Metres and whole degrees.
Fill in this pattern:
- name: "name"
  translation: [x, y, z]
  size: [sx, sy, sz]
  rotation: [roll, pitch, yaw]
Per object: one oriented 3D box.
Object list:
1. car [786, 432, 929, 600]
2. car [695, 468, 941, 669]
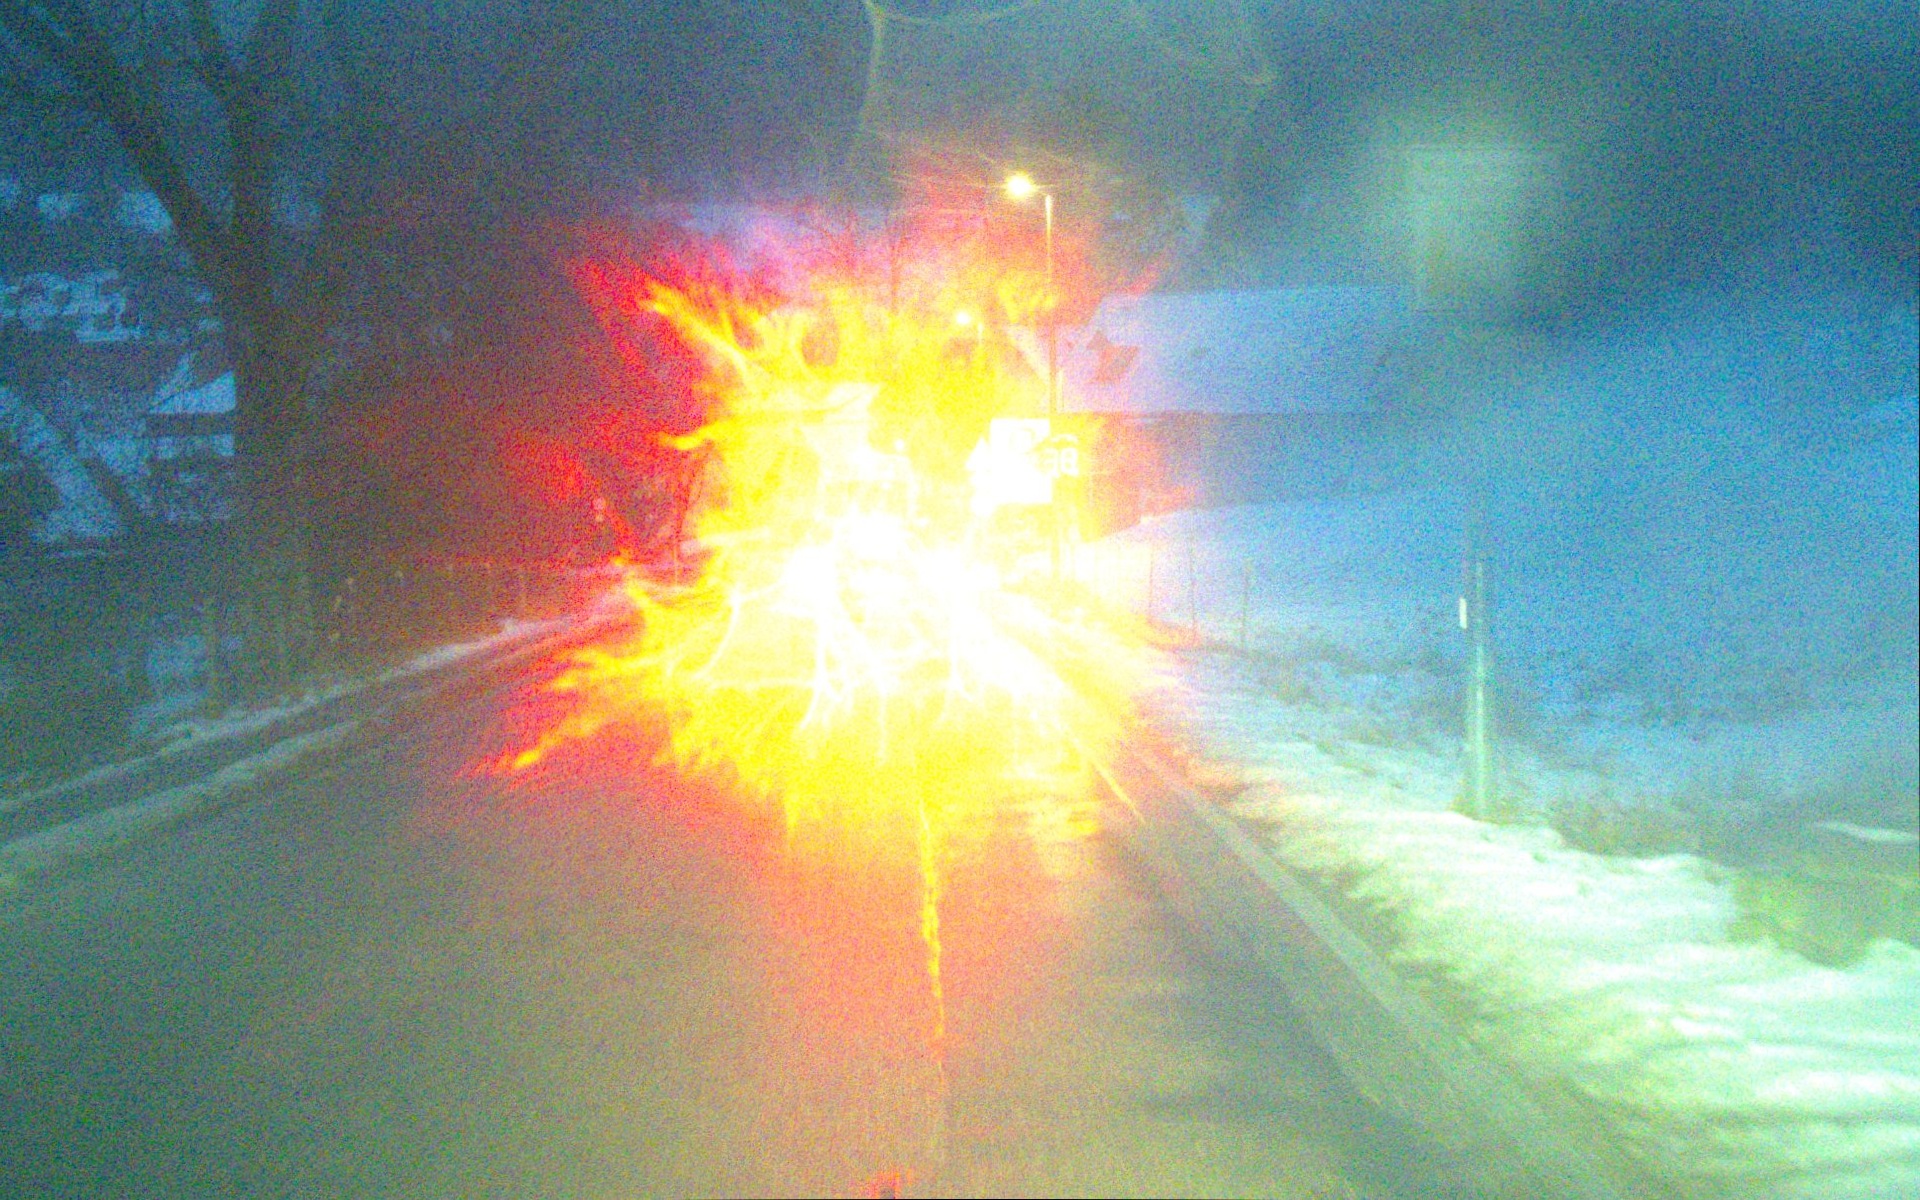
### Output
- name: "car"
  translation: [-1.946, -1.586, 67.200]
  size: [2.435, 3.008, 5.325]
  rotation: [-4, 0, 0]
- name: "car"
  translation: [-1.428, -0.358, 35.524]
  size: [2.274, 1.834, 5.007]
  rotation: [-3, 1, -1]
